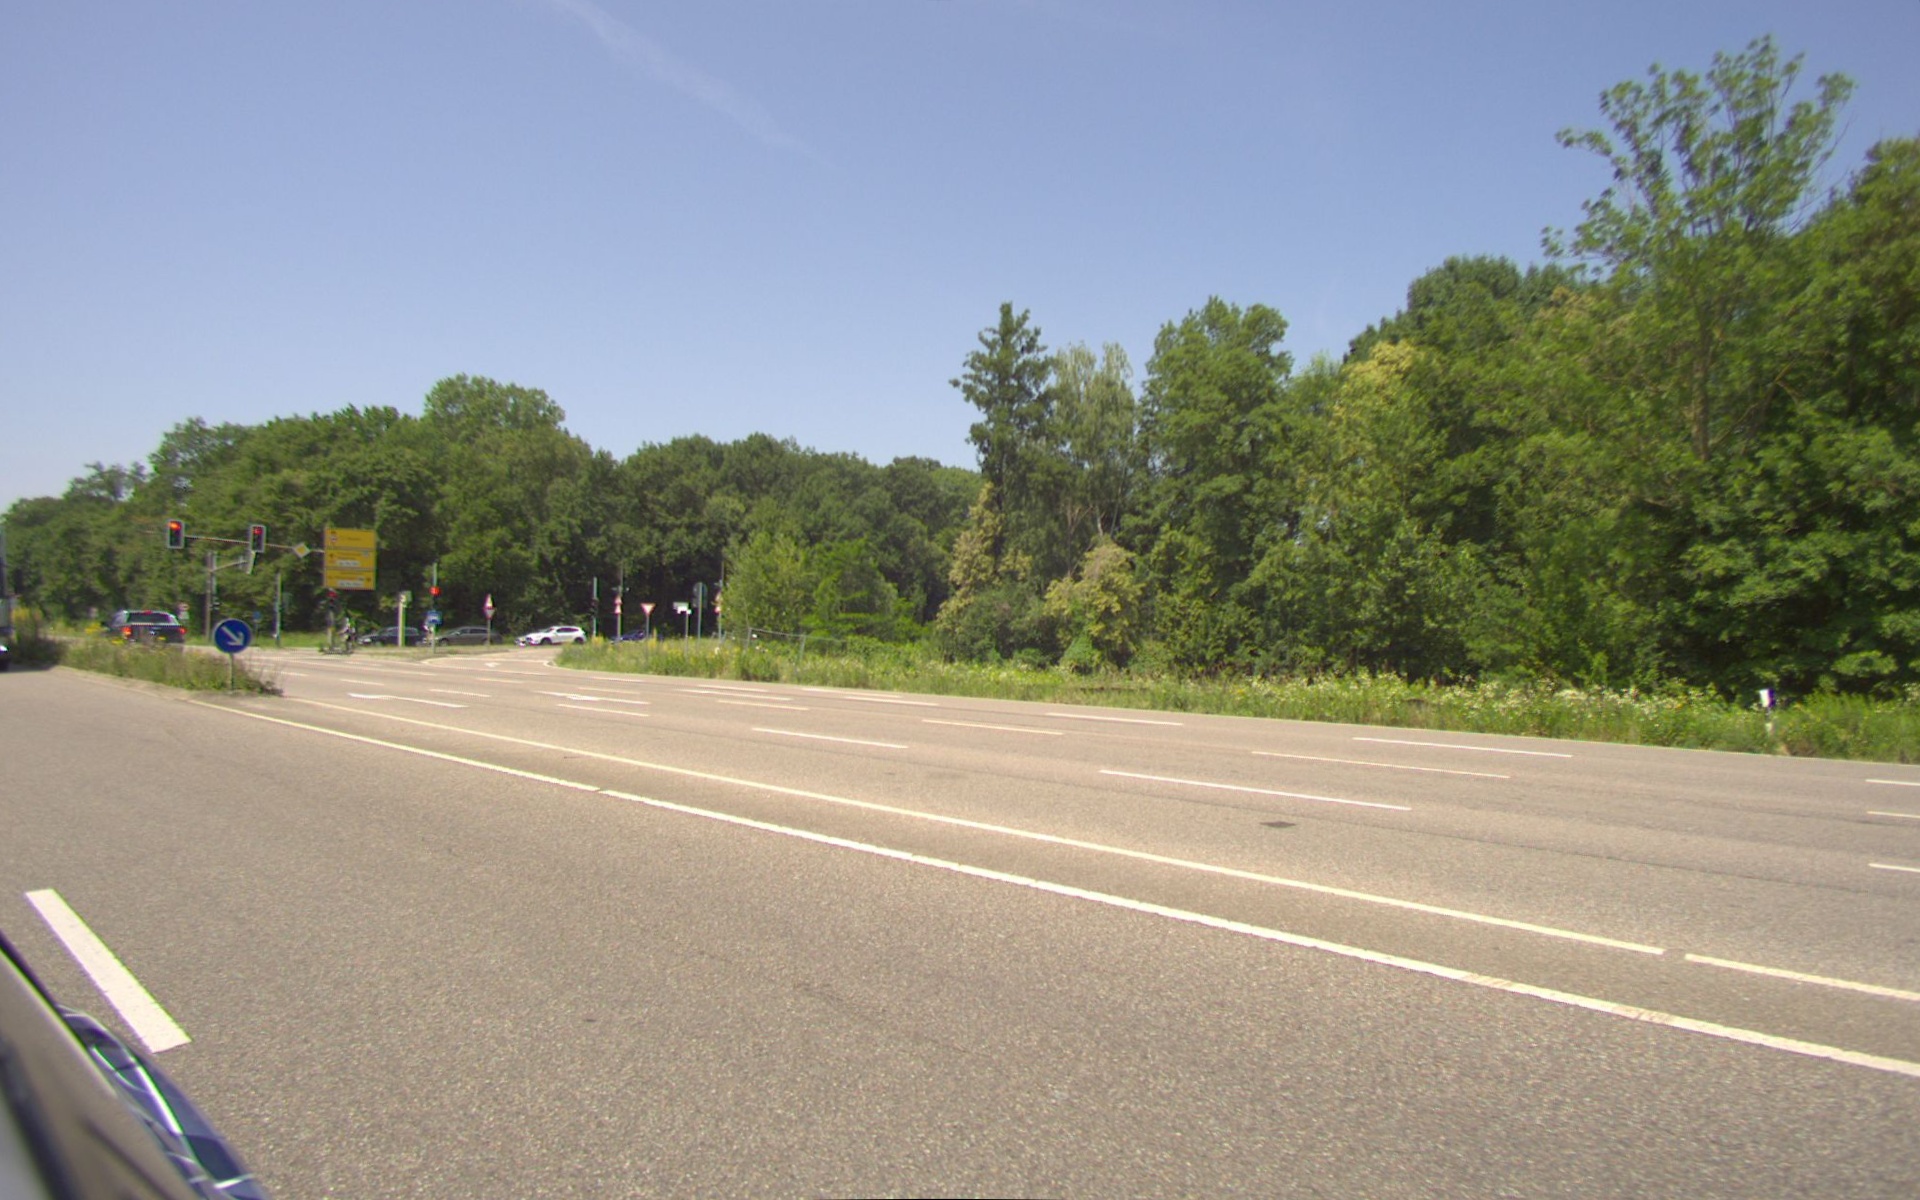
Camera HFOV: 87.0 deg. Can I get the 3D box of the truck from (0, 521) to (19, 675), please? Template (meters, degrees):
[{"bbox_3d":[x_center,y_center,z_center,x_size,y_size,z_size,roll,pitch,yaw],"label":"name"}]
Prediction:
[{"bbox_3d":[-29.287,0.056,28.571,11.313,3.914,2.718,-2,-1,41],"label":"truck"}]

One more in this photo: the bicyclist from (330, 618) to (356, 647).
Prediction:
[{"bbox_3d":[-31.767,1.679,52.088,0.911,1.471,0.718,1,-3,-11],"label":"bicyclist"}]

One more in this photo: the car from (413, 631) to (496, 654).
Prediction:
[{"bbox_3d":[-34.838,2.953,69.846,1.860,1.530,4.756,-2,-3,40],"label":"car"}]

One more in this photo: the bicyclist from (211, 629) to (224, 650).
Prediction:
[{"bbox_3d":[-53.705,2.847,73.198,0.651,1.476,0.811,3,-3,-39],"label":"bicyclist"}]

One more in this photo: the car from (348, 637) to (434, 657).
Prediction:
[{"bbox_3d":[-39.557,3.284,70.418,2.105,1.300,4.753,-2,-3,42],"label":"car"}]

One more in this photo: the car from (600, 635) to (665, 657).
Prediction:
[{"bbox_3d":[-27.313,3.858,84.529,1.998,1.770,4.756,-2,-3,40],"label":"car"}]

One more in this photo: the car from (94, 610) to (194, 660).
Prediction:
[{"bbox_3d":[-29.609,1.275,36.650,5.364,1.691,1.972,-2,-4,42],"label":"car"}]

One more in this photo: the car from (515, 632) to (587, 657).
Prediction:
[{"bbox_3d":[-32.008,3.469,79.277,2.066,1.910,4.753,-2,-3,42],"label":"car"}]

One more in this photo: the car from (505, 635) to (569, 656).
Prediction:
[{"bbox_3d":[-34.199,3.672,81.857,1.871,1.648,4.353,-2,-3,40],"label":"car"}]

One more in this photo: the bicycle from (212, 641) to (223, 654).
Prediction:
[{"bbox_3d":[-53.705,3.406,73.160,0.558,0.930,1.608,2,-3,-39],"label":"bicycle"}]

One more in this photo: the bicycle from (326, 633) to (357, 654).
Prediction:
[{"bbox_3d":[-31.772,2.236,52.034,0.712,1.071,1.874,1,-2,-11],"label":"bicycle"}]
